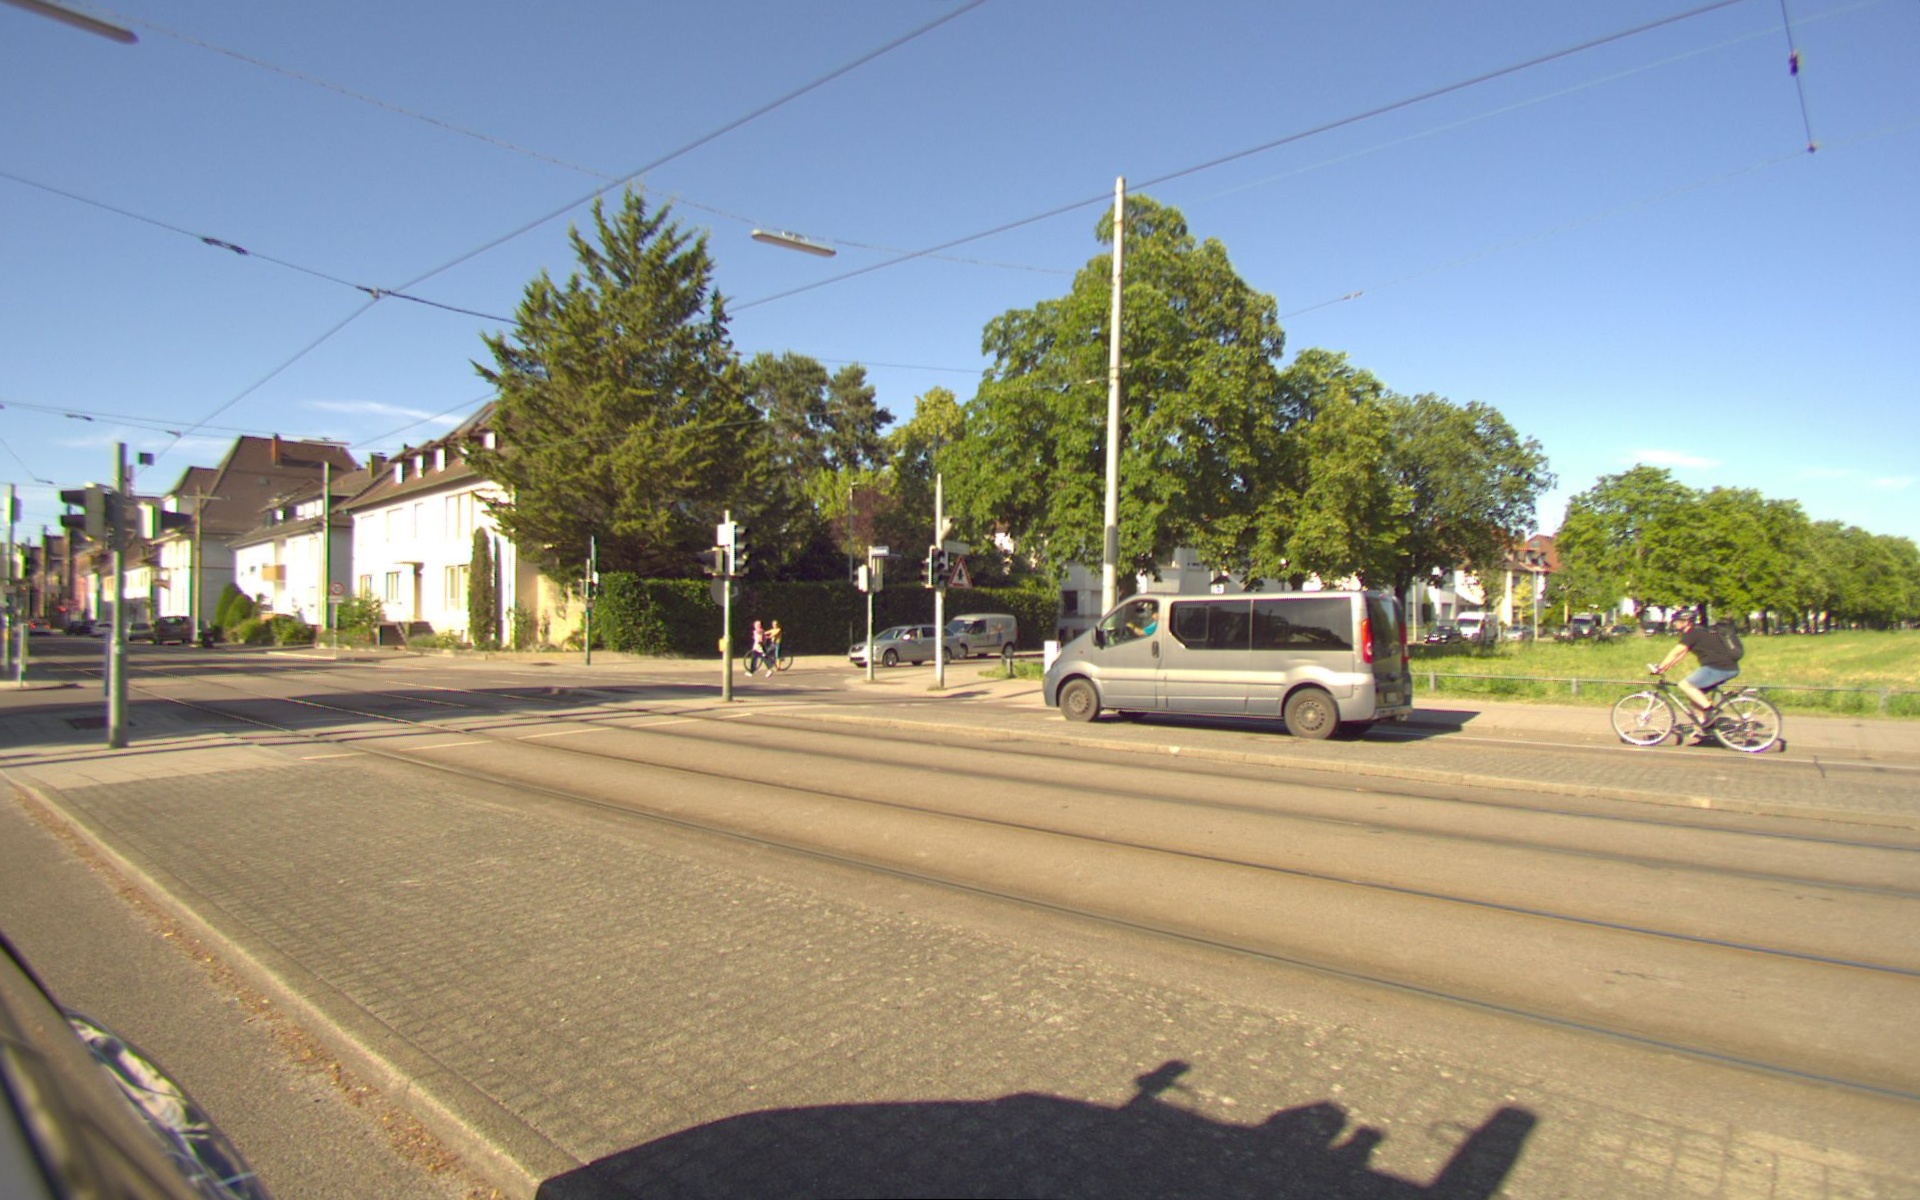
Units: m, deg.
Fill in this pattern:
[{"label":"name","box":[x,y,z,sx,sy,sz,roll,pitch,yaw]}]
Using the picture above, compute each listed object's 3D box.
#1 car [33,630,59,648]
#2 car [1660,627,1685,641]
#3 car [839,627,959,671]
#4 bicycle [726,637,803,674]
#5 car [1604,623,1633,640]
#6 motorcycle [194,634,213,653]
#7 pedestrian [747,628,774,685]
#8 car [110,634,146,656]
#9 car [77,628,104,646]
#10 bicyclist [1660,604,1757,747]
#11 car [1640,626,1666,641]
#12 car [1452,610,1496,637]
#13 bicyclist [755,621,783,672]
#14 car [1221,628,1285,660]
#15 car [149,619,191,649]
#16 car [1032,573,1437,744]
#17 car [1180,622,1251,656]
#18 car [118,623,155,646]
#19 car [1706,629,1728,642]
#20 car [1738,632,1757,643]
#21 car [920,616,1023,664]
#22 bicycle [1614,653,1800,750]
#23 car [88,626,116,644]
[{"label":"car","box":[-91.730,3.907,101.553,1.896,1.728,4.005,-1,-1,-42]},{"label":"car","box":[89.896,4.268,127.697,3.828,1.756,1.818,1,-3,-44]},{"label":"car","box":[-2.138,1.701,35.819,3.937,1.444,1.819,1,-2,-40]},{"label":"bicycle","box":[-6.265,1.759,32.553,2.250,1.126,0.932,1,-2,-38]},{"label":"car","box":[71.154,3.426,109.302,3.828,1.756,1.818,1,-3,-44]},{"label":"motorcycle","box":[-44.154,2.509,59.082,0.597,1.054,2.439,-1,-1,-44]},{"label":"pedestrian","box":[-5.669,1.605,28.781,0.614,1.568,0.679,-2,-1,-4]},{"label":"car","box":[-69.407,3.717,84.368,4.002,1.728,1.897,-2,-1,45]},{"label":"car","box":[-90.608,3.822,105.426,1.897,1.728,4.003,-2,0,-44]},{"label":"bicyclist","box":[9.414,0.927,12.740,0.901,1.724,0.580,-2,-4,41]},{"label":"car","box":[81.972,3.943,119.683,3.828,1.756,1.818,1,-3,-44]},{"label":"car","box":[40.703,1.860,80.057,4.120,2.110,1.818,1,-3,-44]},{"label":"bicyclist","box":[-6.159,1.489,32.637,0.551,1.635,0.900,1,-2,-38]},{"label":"car","box":[16.558,2.448,57.174,3.828,1.756,1.818,1,-2,-44]},{"label":"car","box":[-54.658,2.354,70.012,1.896,1.915,4.004,-1,-1,-43]},{"label":"car","box":[3.756,0.841,14.519,5.243,2.029,2.000,-3,-4,39]},{"label":"car","box":[13.889,2.081,54.883,4.138,1.756,1.818,1,-3,-44]},{"label":"car","box":[-65.195,2.710,80.099,1.897,1.728,4.002,-1,-1,-45]},{"label":"car","box":[106.224,5.012,142.054,3.828,1.756,1.818,1,-3,-44]},{"label":"car","box":[125.202,5.935,160.985,3.828,1.756,1.818,1,-3,-44]},{"label":"car","box":[0.517,1.631,41.999,4.251,1.881,1.818,1,-3,-44]},{"label":"bicycle","box":[9.379,1.235,12.756,1.826,1.122,0.580,-2,-4,42]},{"label":"car","box":[-80.354,3.252,94.779,1.896,1.576,4.005,-1,-1,-42]}]
